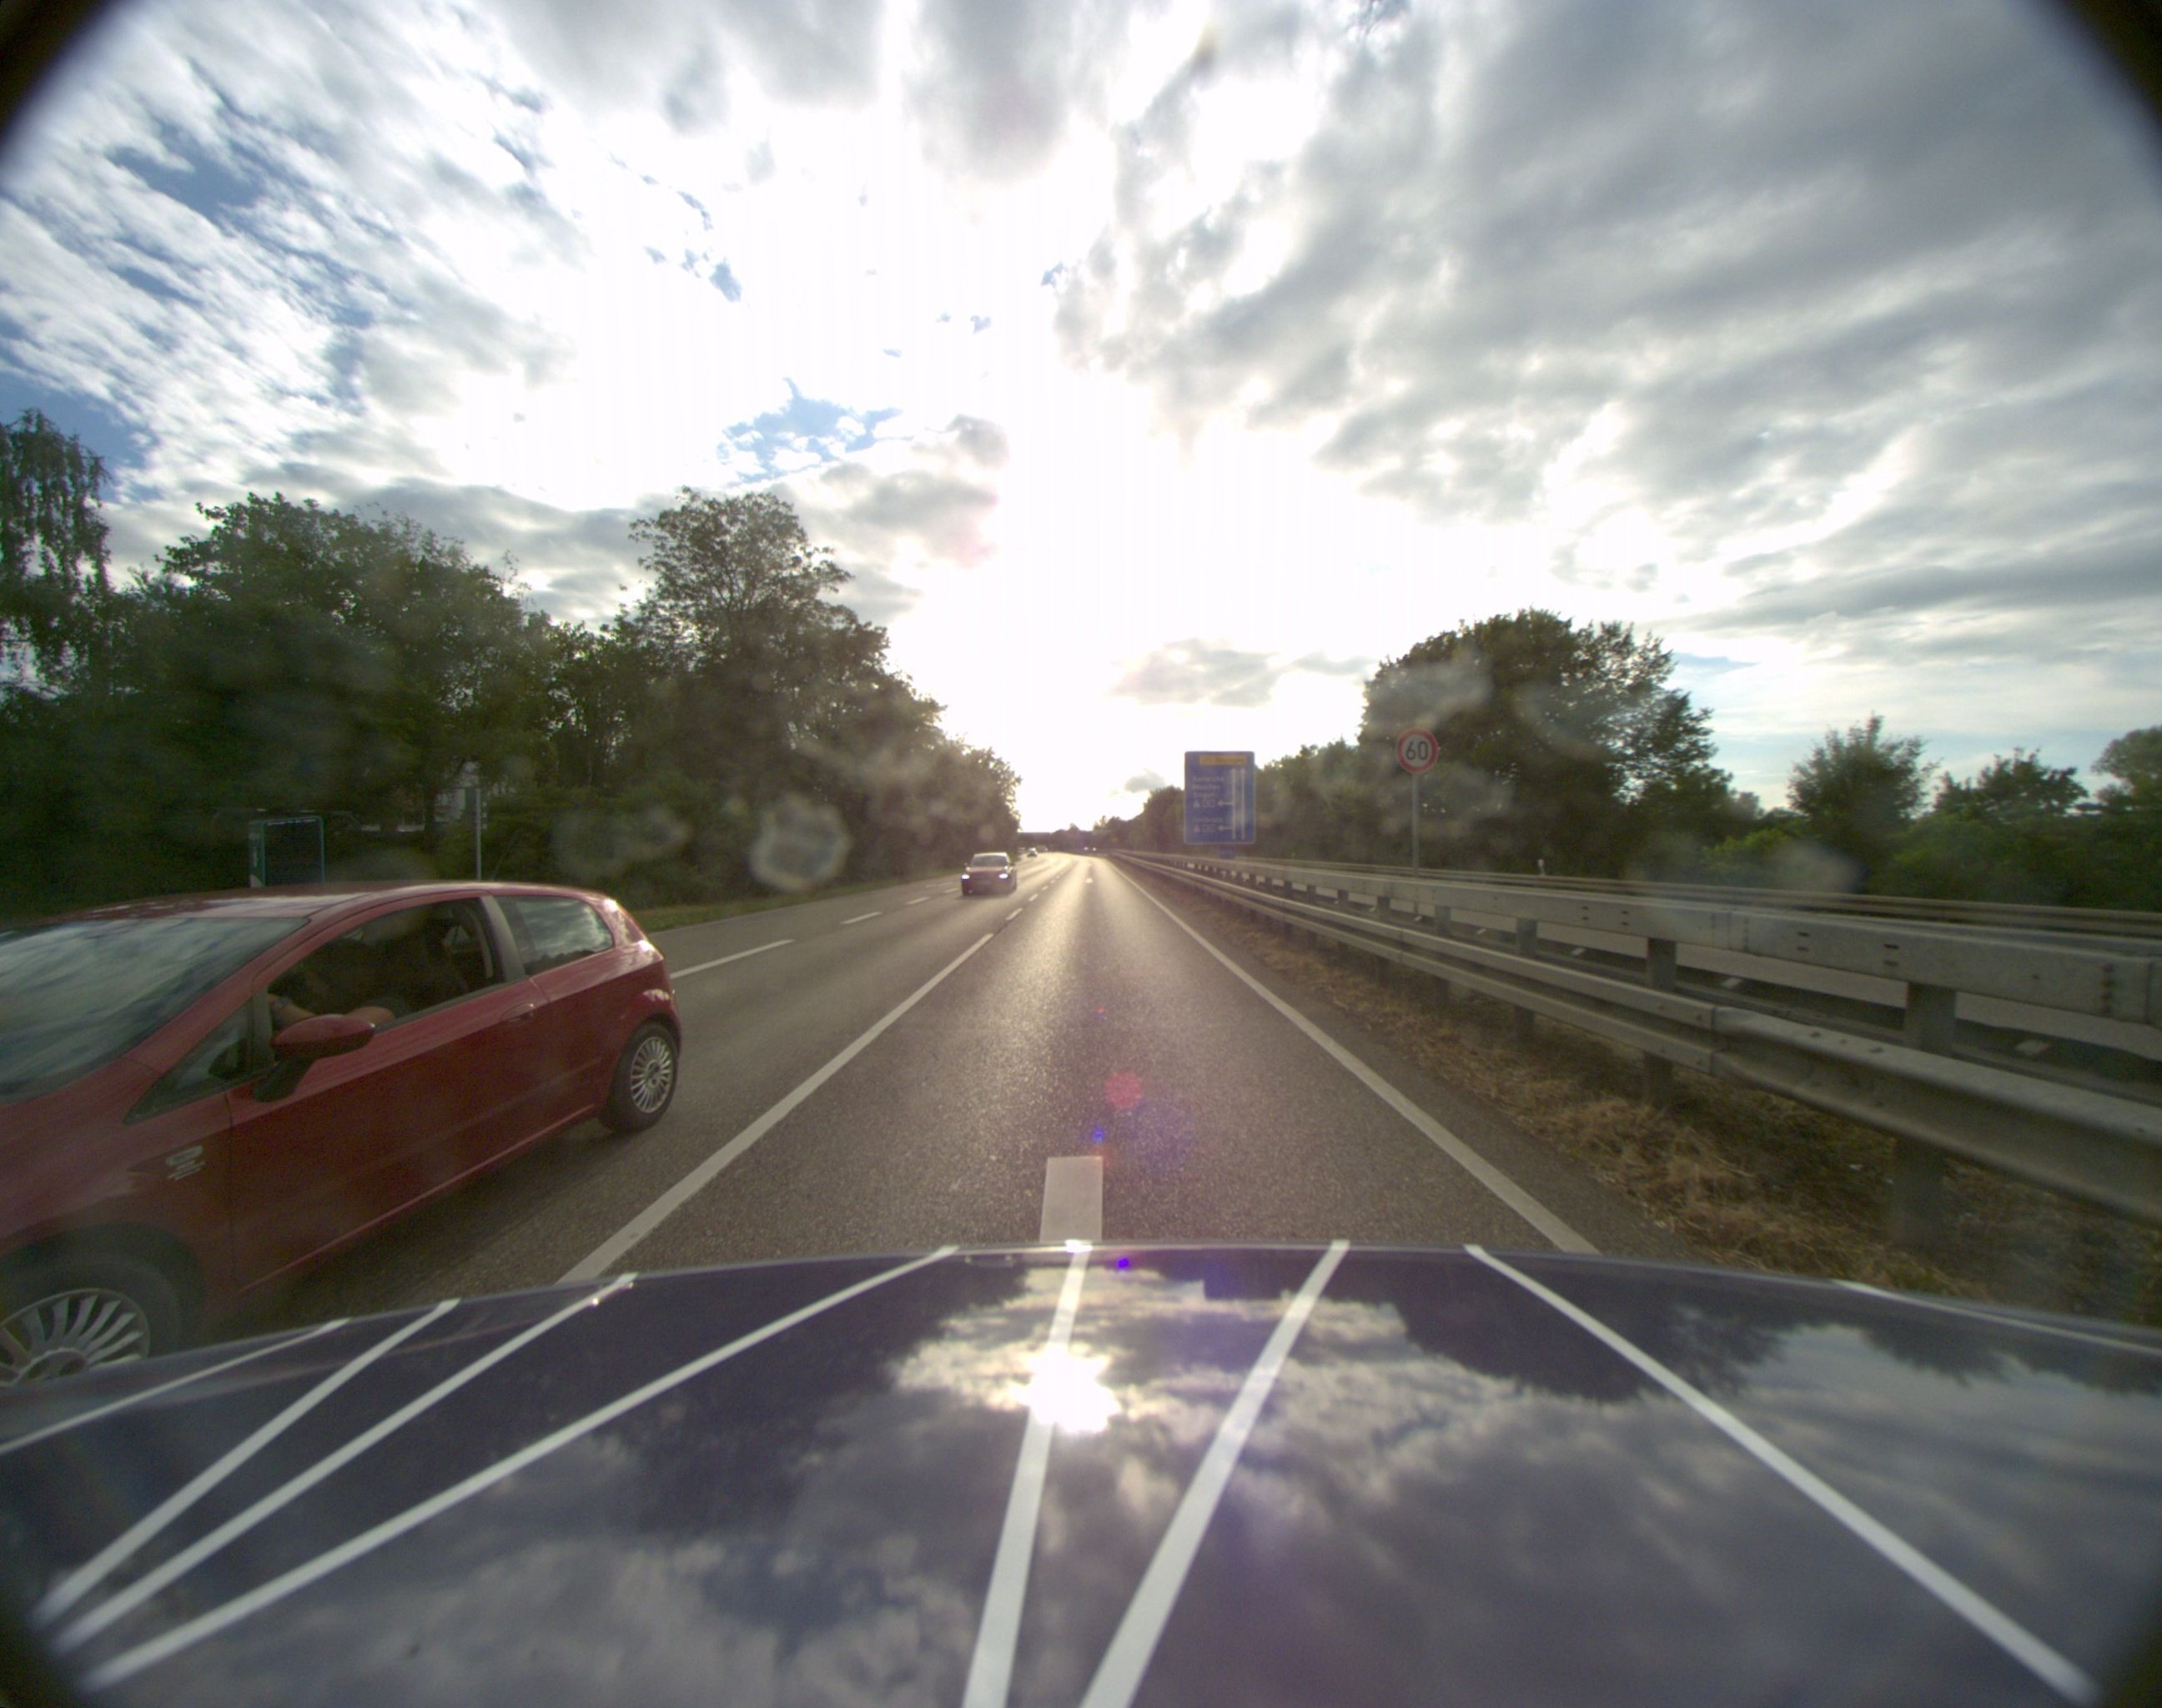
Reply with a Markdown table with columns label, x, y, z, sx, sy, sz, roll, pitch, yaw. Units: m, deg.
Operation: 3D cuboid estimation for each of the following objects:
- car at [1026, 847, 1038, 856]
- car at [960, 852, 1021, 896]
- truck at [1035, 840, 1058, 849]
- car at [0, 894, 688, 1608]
| label | x | y | z | sx | sy | sz | roll | pitch | yaw |
| --- | --- | --- | --- | --- | --- | --- | --- | --- | --- |
| car | -8.902 | -0.442 | 138.580 | 1.998 | 1.486 | 3.999 | 0 | 1 | 1 |
| car | -3.252 | 0.686 | 27.890 | 1.700 | 1.407 | 3.999 | -2 | 1 | 0 |
| truck | -11.641 | -3.203 | 256.607 | 7.168 | 2.669 | 2.986 | -2 | 2 | -11 |
| car | -3.293 | 1.003 | 2.692 | 1.667 | 1.424 | 3.994 | -2 | 1 | 0 |
